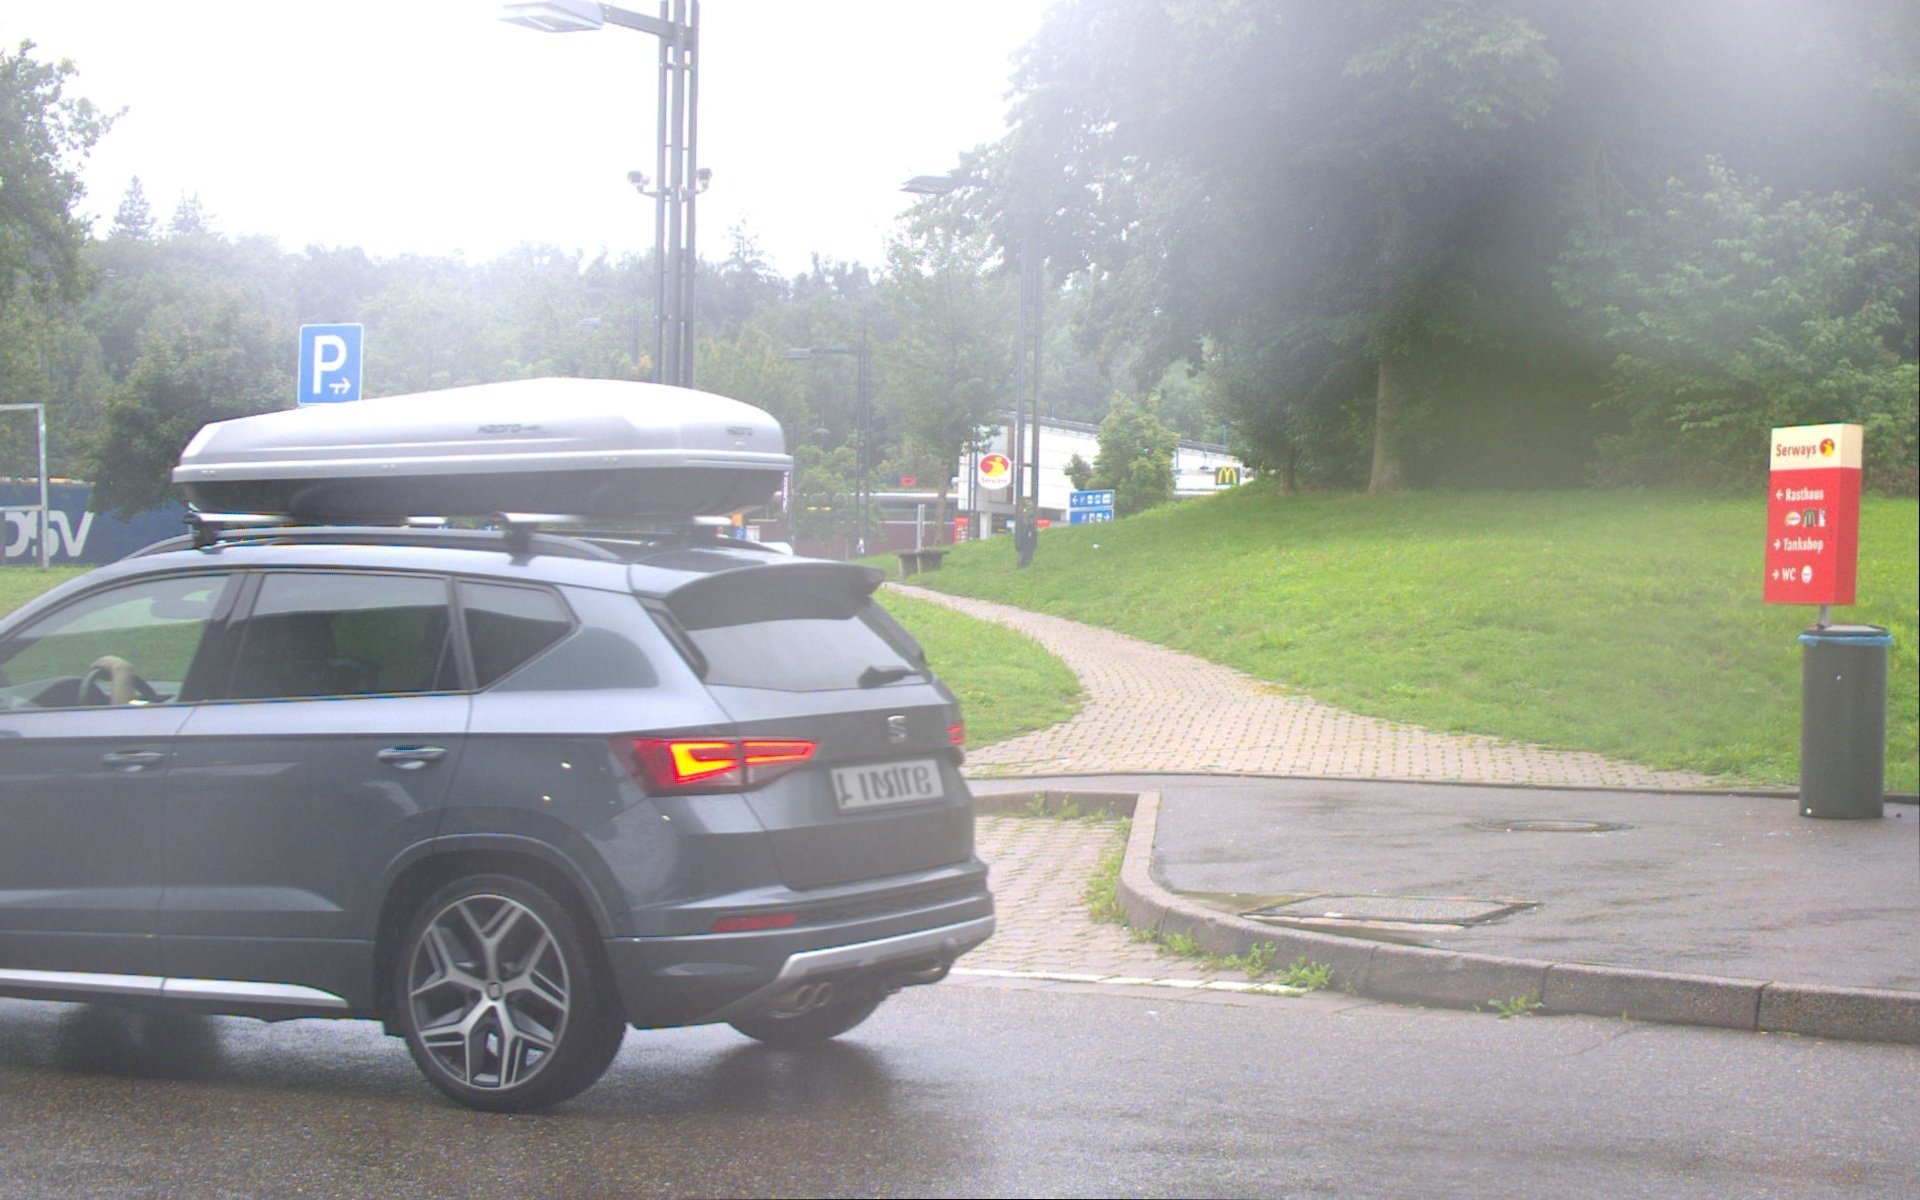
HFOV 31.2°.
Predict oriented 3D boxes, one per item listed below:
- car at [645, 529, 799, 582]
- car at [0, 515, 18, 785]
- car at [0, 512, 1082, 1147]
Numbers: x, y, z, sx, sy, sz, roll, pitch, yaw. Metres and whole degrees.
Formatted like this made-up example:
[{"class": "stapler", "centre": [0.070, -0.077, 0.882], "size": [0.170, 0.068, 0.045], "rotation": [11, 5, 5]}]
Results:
[{"class": "car", "centre": [-9.253, -1.732, 133.770], "size": [5.429, 2.007, 2.453], "rotation": [1, 1, 20]}, {"class": "car", "centre": [-7.772, 0.376, 21.443], "size": [1.885, 1.821, 4.411], "rotation": [0, 1, 11]}, {"class": "car", "centre": [-1.989, 0.534, 10.487], "size": [4.318, 1.582, 1.888], "rotation": [1, 1, 27]}]
